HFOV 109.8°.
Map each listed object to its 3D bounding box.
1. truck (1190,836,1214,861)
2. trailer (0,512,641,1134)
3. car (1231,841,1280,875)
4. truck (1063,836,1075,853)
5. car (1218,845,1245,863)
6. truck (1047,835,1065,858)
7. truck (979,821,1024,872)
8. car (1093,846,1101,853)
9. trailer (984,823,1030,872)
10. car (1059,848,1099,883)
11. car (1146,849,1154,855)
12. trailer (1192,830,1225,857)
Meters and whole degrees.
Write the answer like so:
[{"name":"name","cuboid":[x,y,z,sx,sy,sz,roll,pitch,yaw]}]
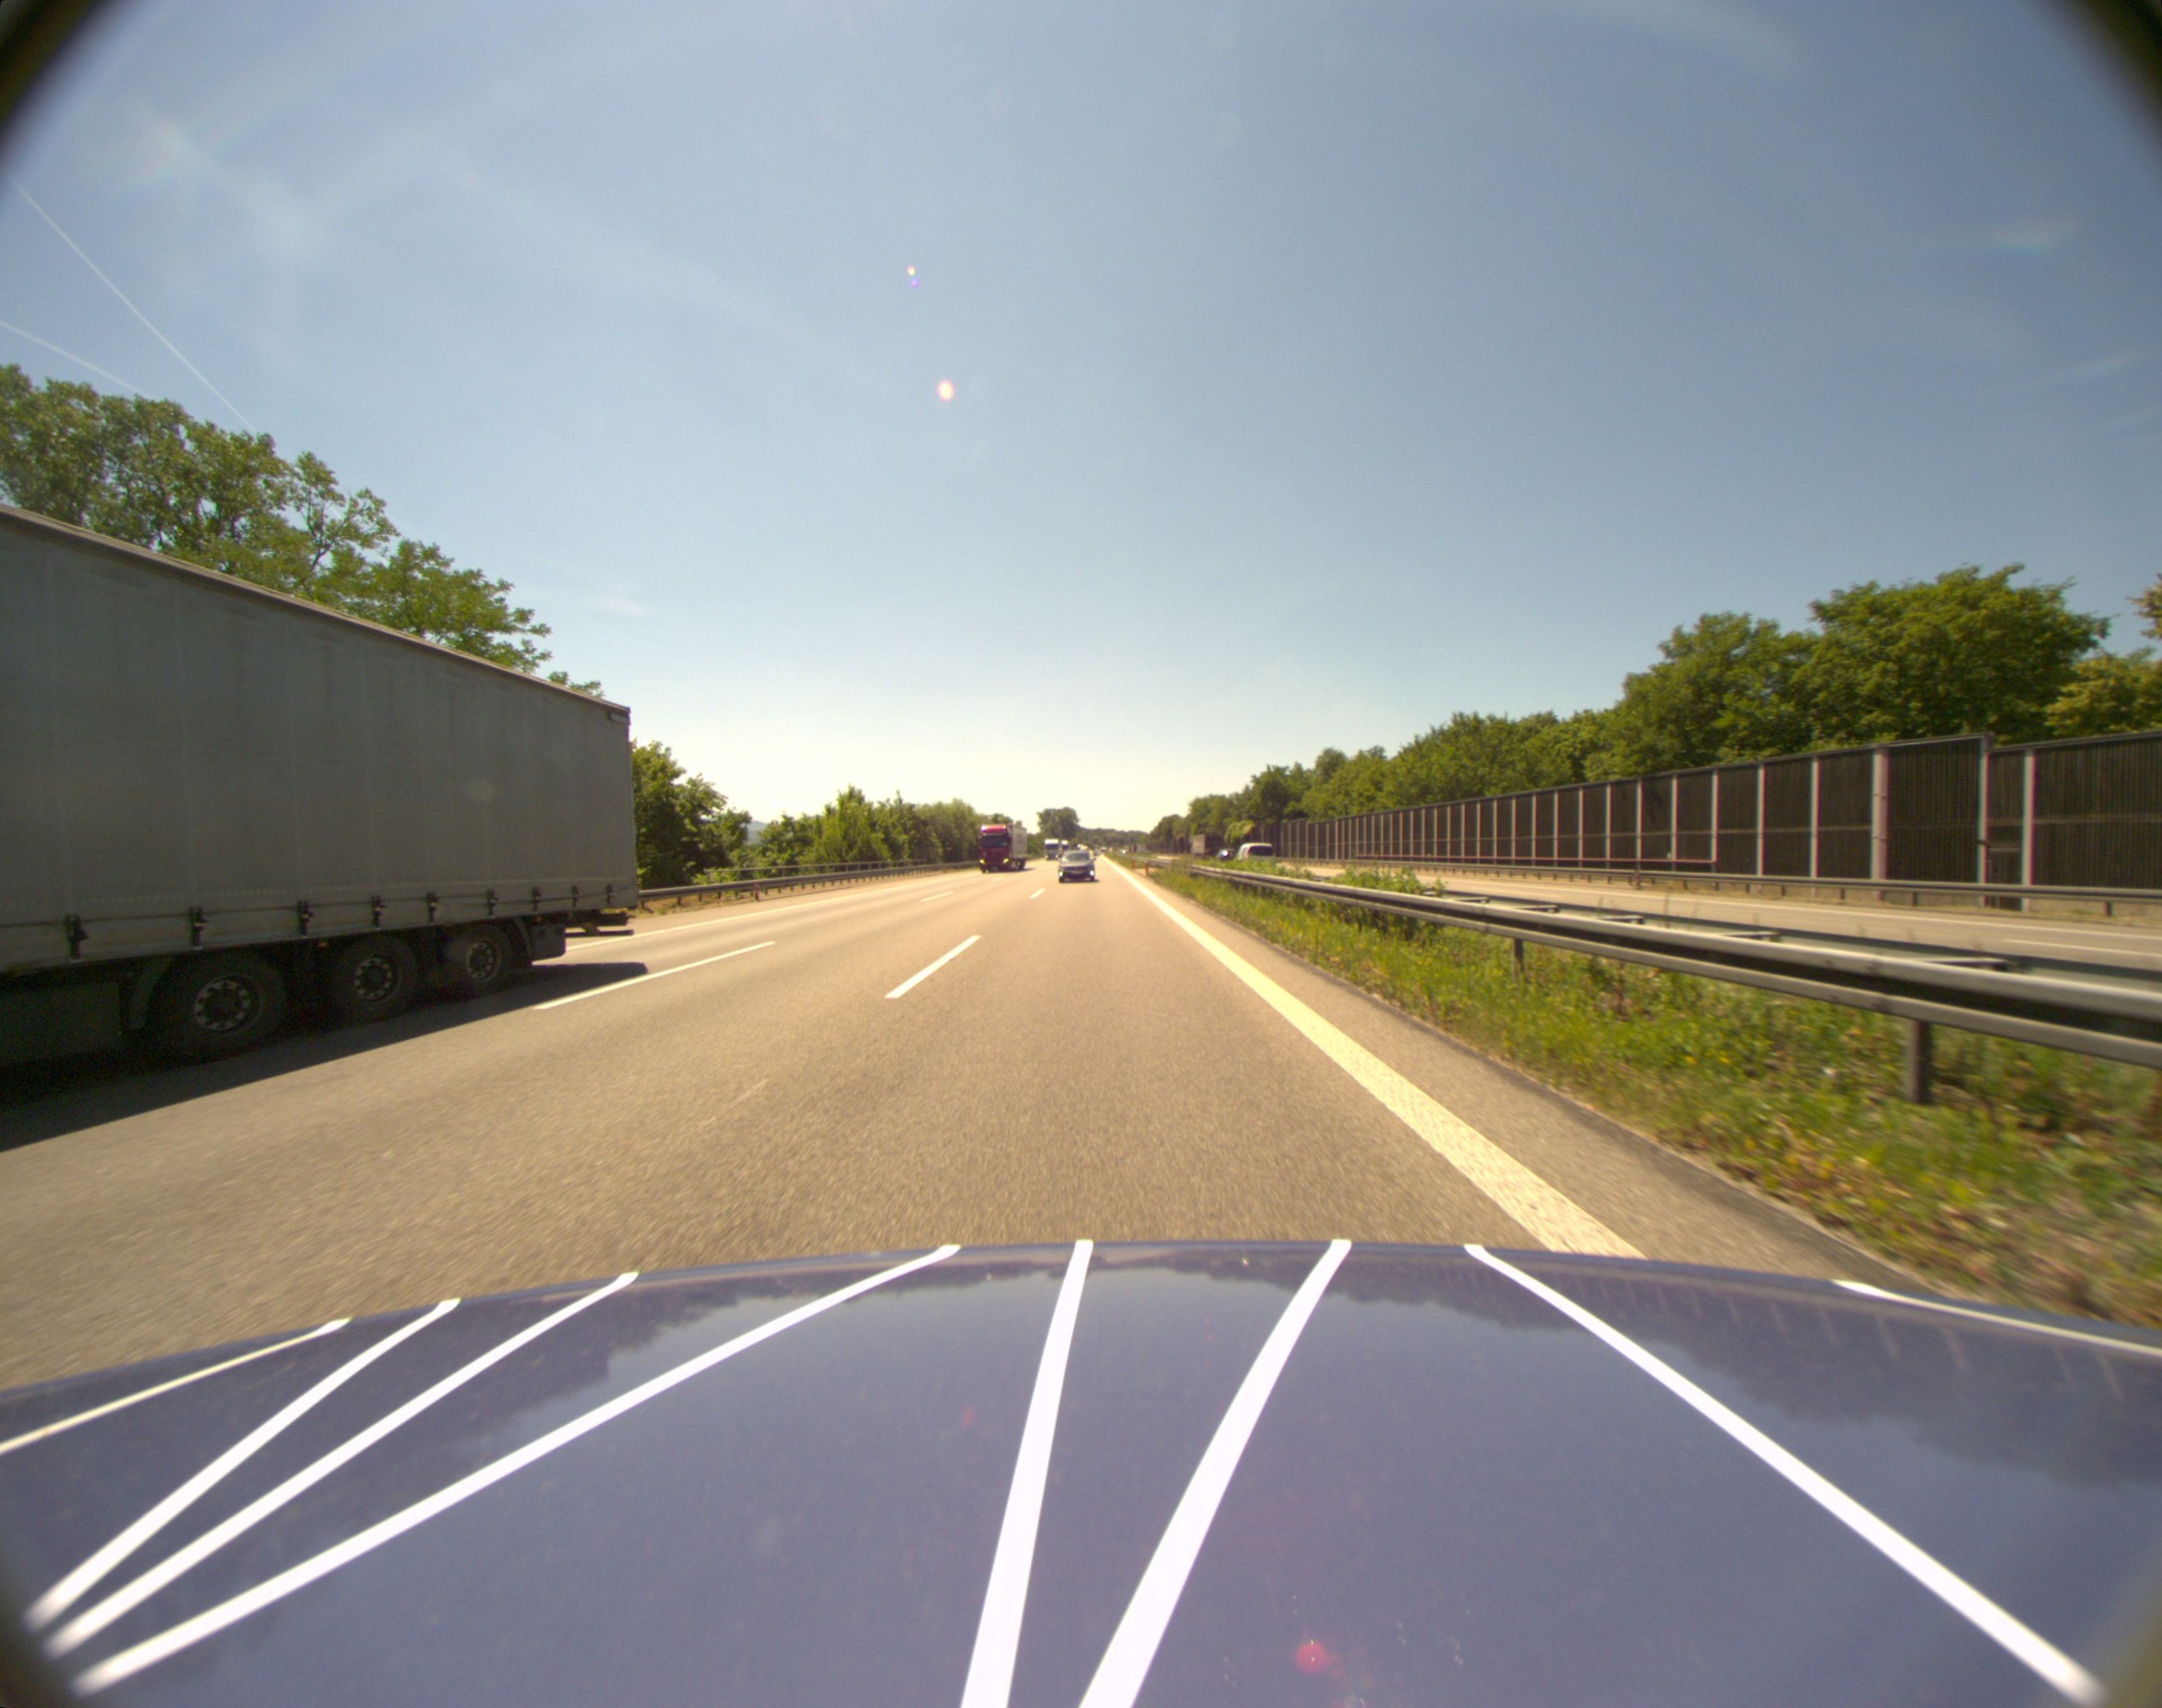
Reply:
[{"name":"truck","cuboid":[20.031,-0.861,125.965,3.100,3.985,6.190,1,1,1]},{"name":"trailer","cuboid":[-8.449,-0.181,5.287,2.707,4.094,13.239,-2,1,1]},{"name":"car","cuboid":[9.918,0.212,43.498,1.787,1.830,4.558,0,1,0]},{"name":"truck","cuboid":[-2.917,-2.267,184.937,2.743,3.844,12.464,-2,1,0]},{"name":"car","cuboid":[15.389,-0.004,78.005,1.885,1.682,4.548,-2,1,0]},{"name":"truck","cuboid":[-4.834,-1.486,148.775,2.992,4.248,9.822,-2,1,0]},{"name":"truck","cuboid":[-6.738,-0.672,65.548,2.802,4.094,7.769,-2,1,0]},{"name":"car","cuboid":[4.273,-1.208,205.426,1.999,1.772,3.999,-2,1,-1]},{"name":"trailer","cuboid":[-6.712,-0.644,70.547,2.802,4.094,12.298,-2,1,0]},{"name":"car","cuboid":[-0.094,0.537,39.037,1.885,1.630,5.008,-2,1,0]},{"name":"car","cuboid":[17.519,-0.467,192.960,2.001,1.565,4.000,-2,1,3]},{"name":"trailer","cuboid":[19.907,-1.610,119.607,3.125,3.985,13.874,1,1,1]}]
